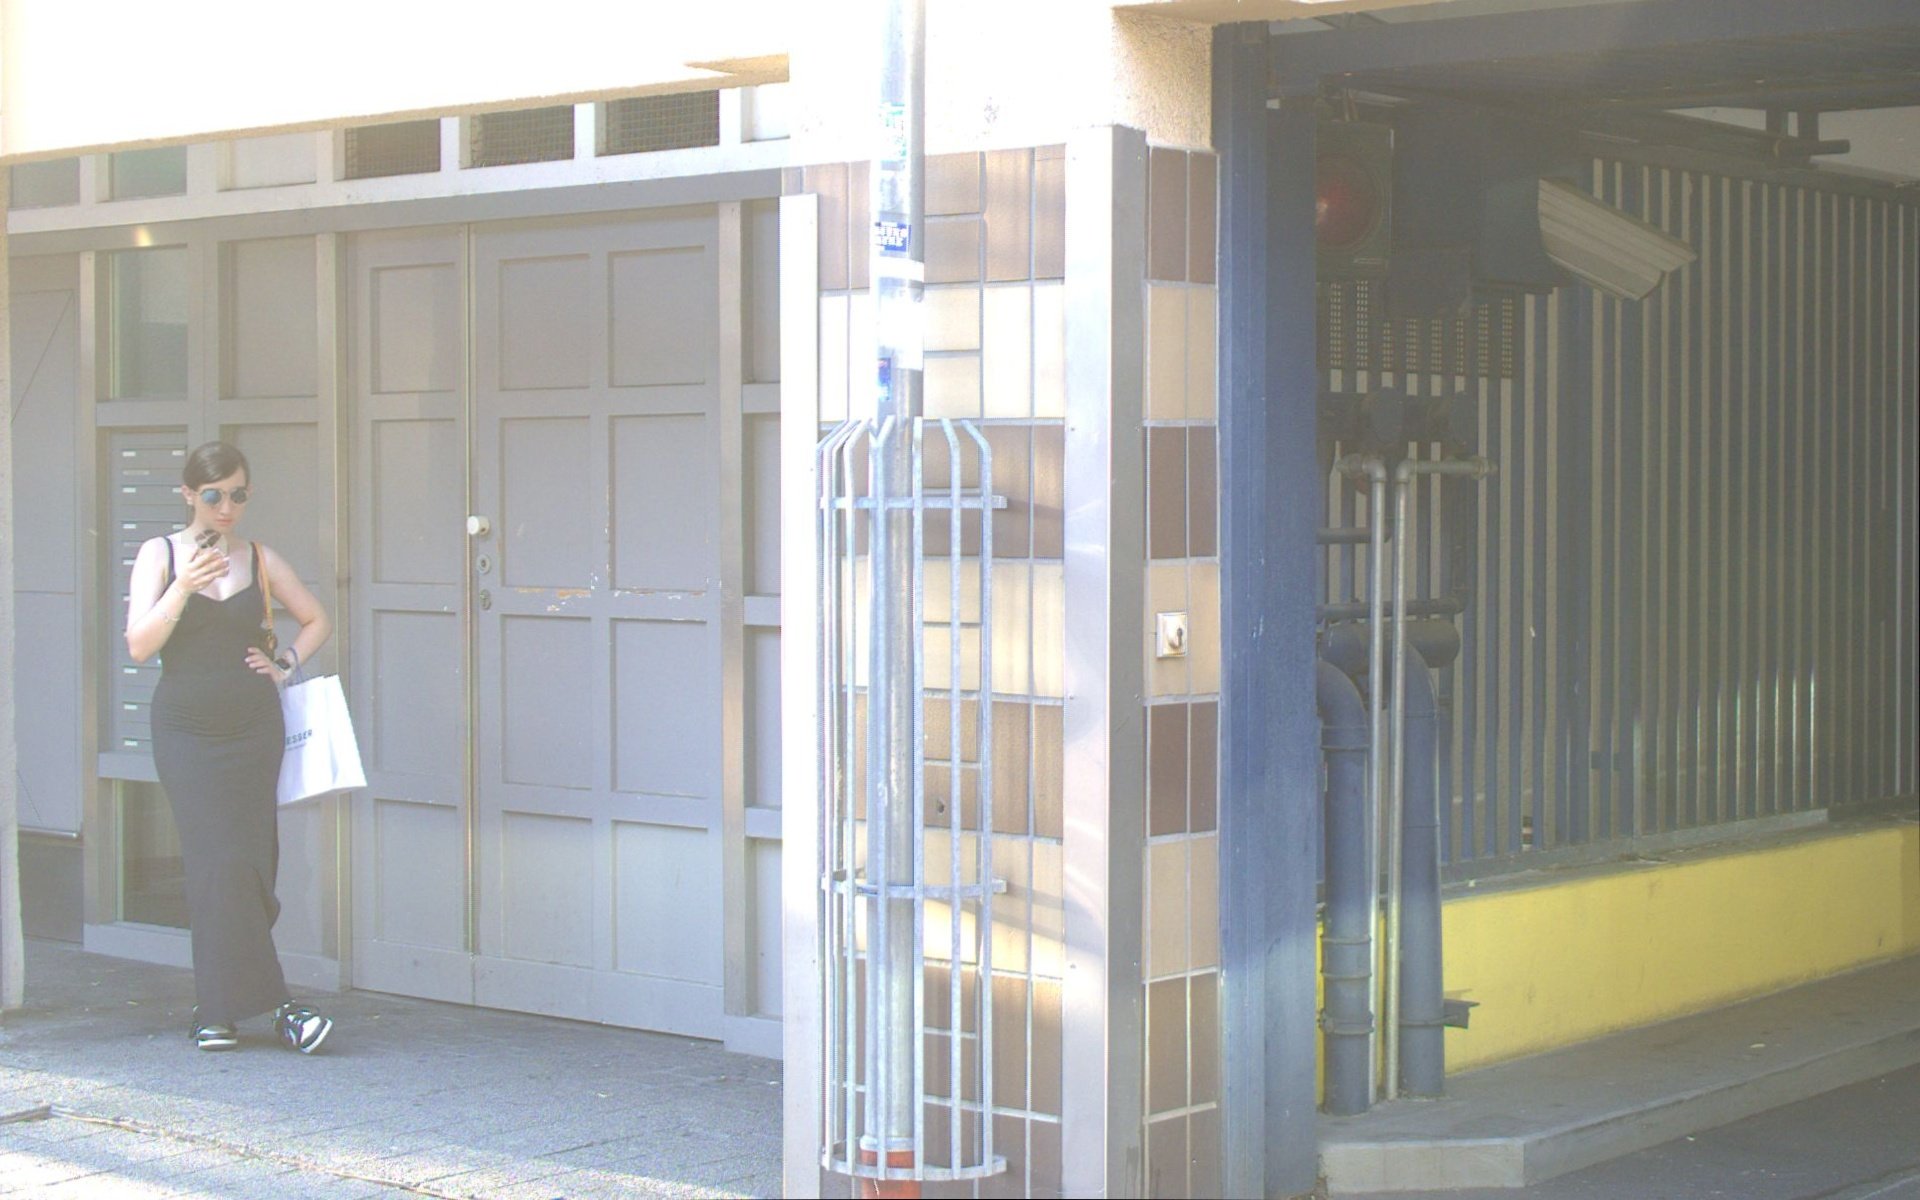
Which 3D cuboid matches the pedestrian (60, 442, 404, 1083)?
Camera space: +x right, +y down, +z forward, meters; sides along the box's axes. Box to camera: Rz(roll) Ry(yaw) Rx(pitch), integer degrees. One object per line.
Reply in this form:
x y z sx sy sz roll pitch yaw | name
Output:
-1.861 0.386 8.773 0.776 1.567 0.534 0 2 -22 | pedestrian
